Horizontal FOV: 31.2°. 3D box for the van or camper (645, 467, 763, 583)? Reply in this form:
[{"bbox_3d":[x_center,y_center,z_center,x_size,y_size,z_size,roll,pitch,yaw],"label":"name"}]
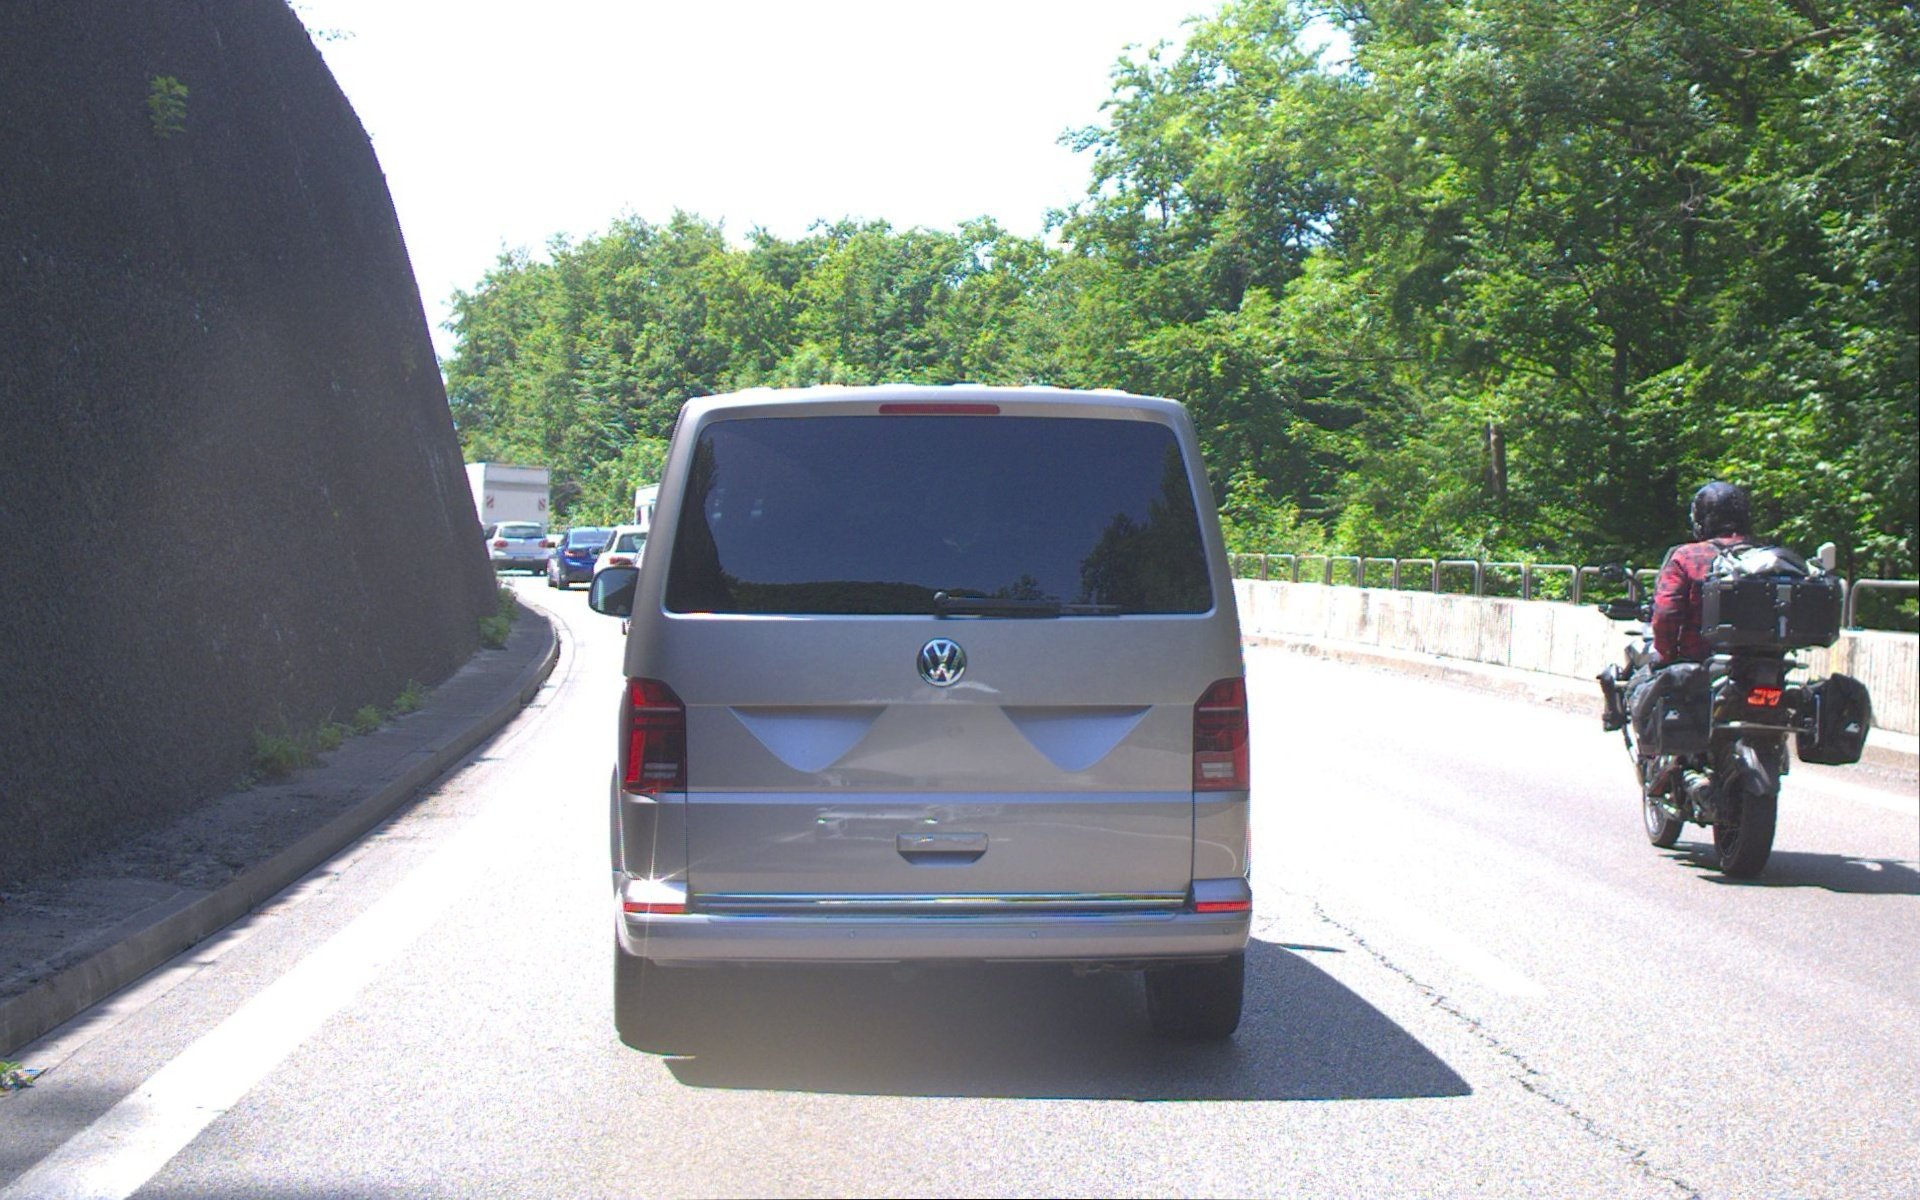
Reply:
[{"bbox_3d":[-7.083,-2.095,94.464,2.603,2.845,6.337,5,1,-8],"label":"van or camper"}]

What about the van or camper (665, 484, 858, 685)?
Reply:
[{"bbox_3d":[-2.063,-0.187,35.534,1.853,1.935,4.166,1,1,-4],"label":"van or camper"}]

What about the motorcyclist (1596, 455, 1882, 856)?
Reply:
[{"bbox_3d":[3.640,0.237,16.196,1.060,1.794,1.338,1,1,2],"label":"motorcyclist"}]

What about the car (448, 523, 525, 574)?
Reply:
[{"bbox_3d":[-14.862,-1.628,107.801,1.750,1.565,3.772,0,1,-18],"label":"car"}]

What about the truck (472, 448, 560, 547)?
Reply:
[{"bbox_3d":[-17.265,-3.938,133.253,2.924,3.674,7.726,1,1,-11],"label":"truck"}]

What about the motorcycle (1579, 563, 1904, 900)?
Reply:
[{"bbox_3d":[3.608,0.551,16.153,0.972,1.415,2.681,1,1,2],"label":"motorcycle"}]

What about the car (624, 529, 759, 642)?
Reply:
[{"bbox_3d":[-3.764,-0.238,47.914,1.771,1.467,4.001,1,1,-5],"label":"car"}]

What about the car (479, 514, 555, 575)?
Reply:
[{"bbox_3d":[-12.193,-1.536,94.499,1.993,1.612,4.001,1,1,-8],"label":"car"}]

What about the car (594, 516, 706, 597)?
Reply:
[{"bbox_3d":[-6.030,-0.866,66.509,1.862,1.481,4.001,1,1,-9],"label":"car"}]

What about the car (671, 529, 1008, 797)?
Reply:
[{"bbox_3d":[-0.869,0.327,22.198,1.904,1.484,4.380,2,1,-4],"label":"car"}]

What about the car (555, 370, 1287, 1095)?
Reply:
[{"bbox_3d":[-0.163,0.316,11.702,1.940,1.924,4.695,2,1,-1],"label":"car"}]

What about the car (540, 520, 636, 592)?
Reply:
[{"bbox_3d":[-8.635,-1.037,79.644,1.857,1.614,4.001,1,1,-11],"label":"car"}]
